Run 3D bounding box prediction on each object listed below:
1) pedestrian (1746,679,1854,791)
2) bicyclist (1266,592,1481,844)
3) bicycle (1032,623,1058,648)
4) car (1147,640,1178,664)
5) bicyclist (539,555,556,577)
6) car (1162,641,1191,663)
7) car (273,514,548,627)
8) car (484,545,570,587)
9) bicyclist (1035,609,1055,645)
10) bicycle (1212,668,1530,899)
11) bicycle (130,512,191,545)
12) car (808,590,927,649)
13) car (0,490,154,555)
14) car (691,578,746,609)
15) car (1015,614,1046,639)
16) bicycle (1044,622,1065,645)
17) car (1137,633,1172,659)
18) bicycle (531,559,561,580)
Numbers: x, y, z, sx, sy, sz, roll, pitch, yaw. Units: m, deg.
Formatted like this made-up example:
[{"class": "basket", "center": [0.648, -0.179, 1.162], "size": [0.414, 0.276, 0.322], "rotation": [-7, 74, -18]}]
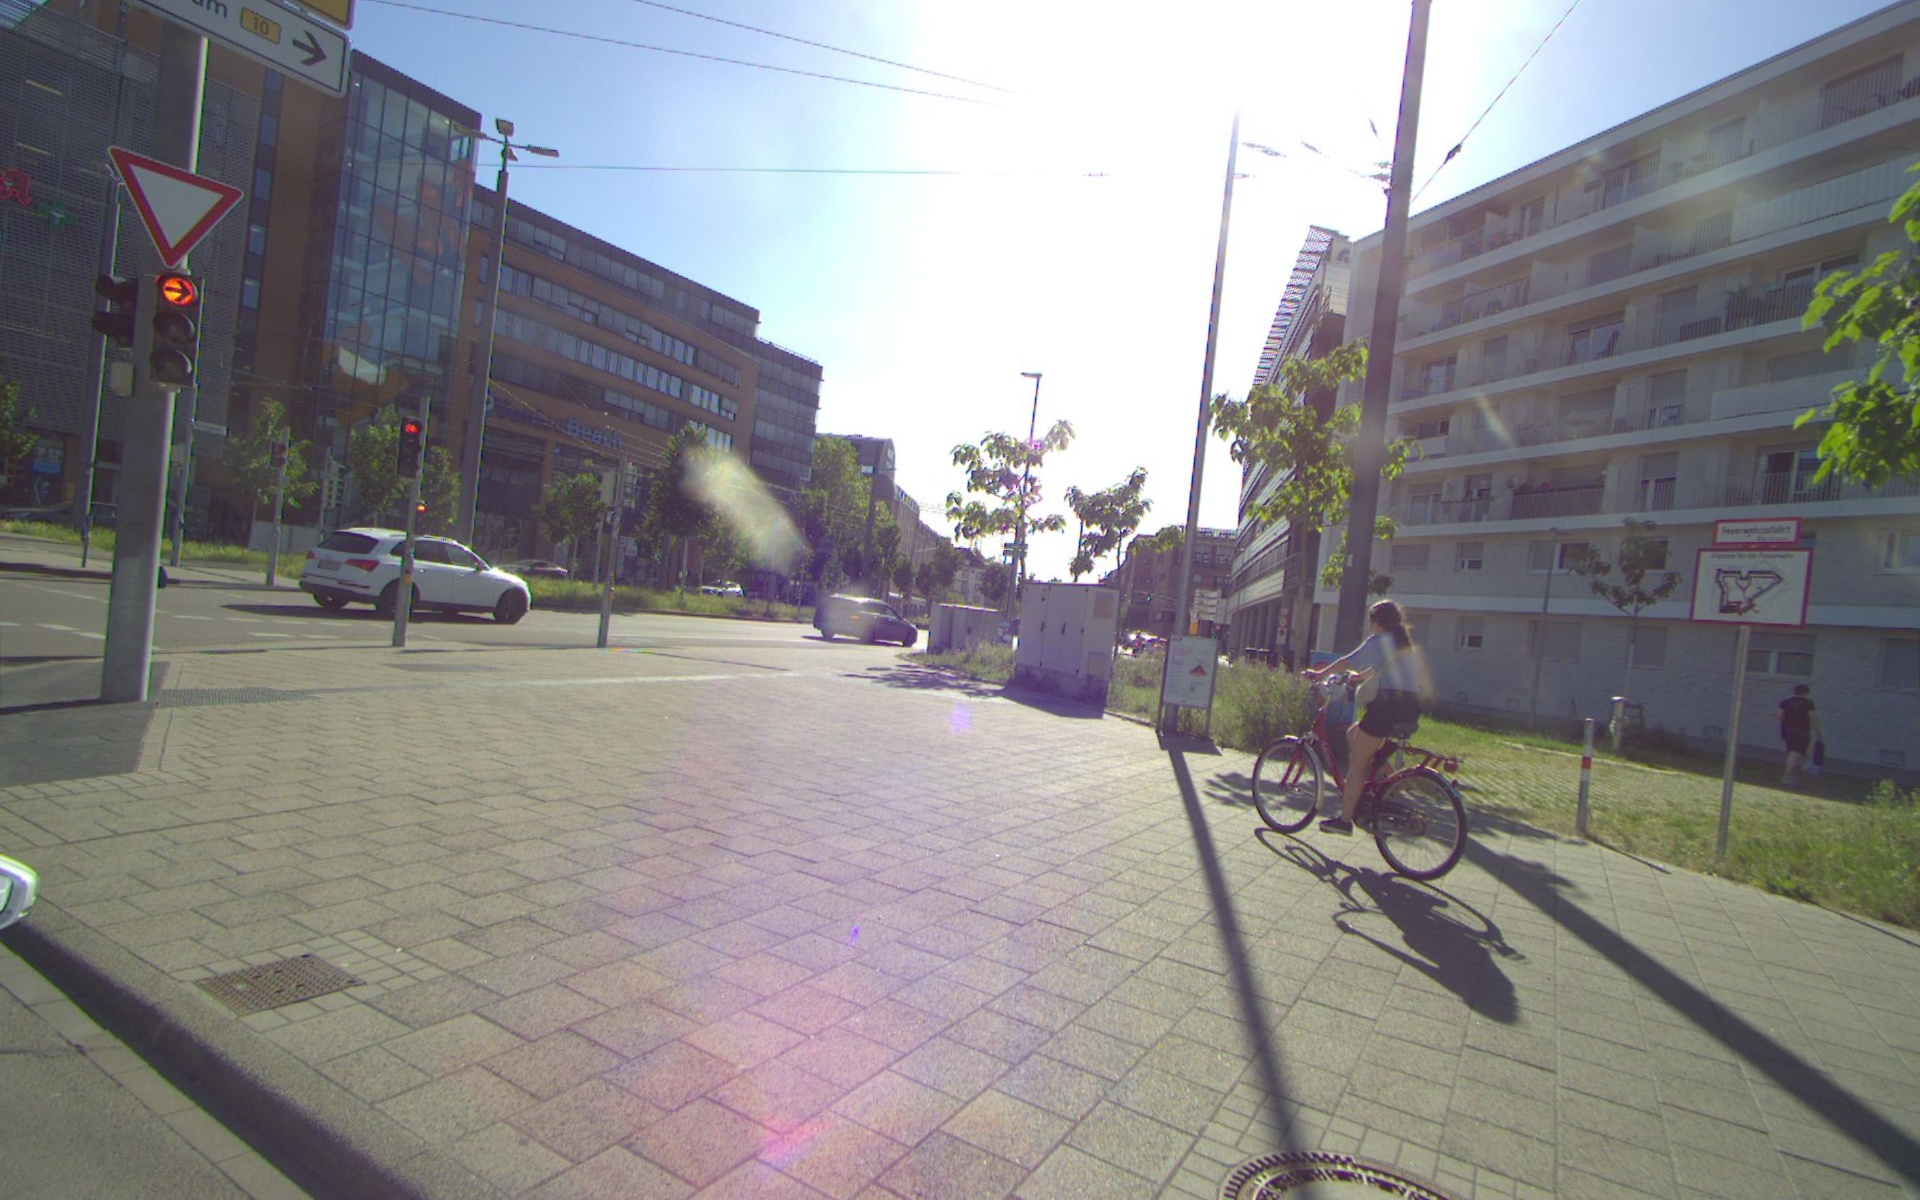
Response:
[{"class": "pedestrian", "center": [14.309, 2.282, 17.153], "size": [0.970, 1.719, 0.842], "rotation": [6, 2, -16]}, {"class": "bicyclist", "center": [2.636, 0.726, 6.478], "size": [0.662, 1.454, 0.933], "rotation": [6, 0, -31]}, {"class": "bicycle", "center": [4.394, 1.839, 51.988], "size": [0.571, 1.150, 1.907], "rotation": [7, -2, 25]}, {"class": "car", "center": [15.580, 4.011, 77.210], "size": [1.677, 1.515, 4.281], "rotation": [7, -2, 19]}, {"class": "bicyclist", "center": [-28.928, -2.391, 70.526], "size": [0.556, 1.404, 0.754], "rotation": [9, 2, 31]}, {"class": "car", "center": [17.914, 4.321, 83.262], "size": [1.677, 1.515, 4.281], "rotation": [7, -2, 19]}, {"class": "car", "center": [-10.822, -0.483, 20.286], "size": [1.901, 1.728, 4.684], "rotation": [7, 0, 19]}, {"class": "car", "center": [-24.884, -1.907, 57.977], "size": [1.807, 1.600, 4.310], "rotation": [7, -5, 23]}, {"class": "bicyclist", "center": [4.394, 1.395, 51.898], "size": [0.563, 1.727, 0.885], "rotation": [7, -1, 25]}, {"class": "bicycle", "center": [2.577, 1.103, 6.555], "size": [0.661, 1.086, 1.806], "rotation": [4, 1, -30]}, {"class": "bicycle", "center": [-40.521, -3.609, 51.031], "size": [0.595, 1.310, 2.260], "rotation": [7, -2, 30]}, {"class": "car", "center": [-3.132, 0.731, 35.160], "size": [1.677, 1.591, 4.868], "rotation": [7, -1, 27]}, {"class": "car", "center": [-32.072, -2.767, 36.325], "size": [1.810, 1.484, 4.161], "rotation": [6, -5, 30]}, {"class": "car", "center": [-18.010, -0.443, 75.235], "size": [1.806, 1.885, 4.343], "rotation": [6, -1, 18]}, {"class": "car", "center": [5.627, 2.144, 80.178], "size": [1.615, 1.665, 3.704], "rotation": [7, -1, 15]}, {"class": "bicycle", "center": [5.247, 1.871, 55.820], "size": [0.576, 1.150, 1.761], "rotation": [7, -2, 22]}, {"class": "car", "center": [13.736, 3.292, 70.997], "size": [1.677, 1.515, 4.281], "rotation": [7, -2, 19]}, {"class": "bicycle", "center": [-28.978, -2.144, 70.484], "size": [0.559, 1.232, 1.859], "rotation": [9, 1, 31]}]
